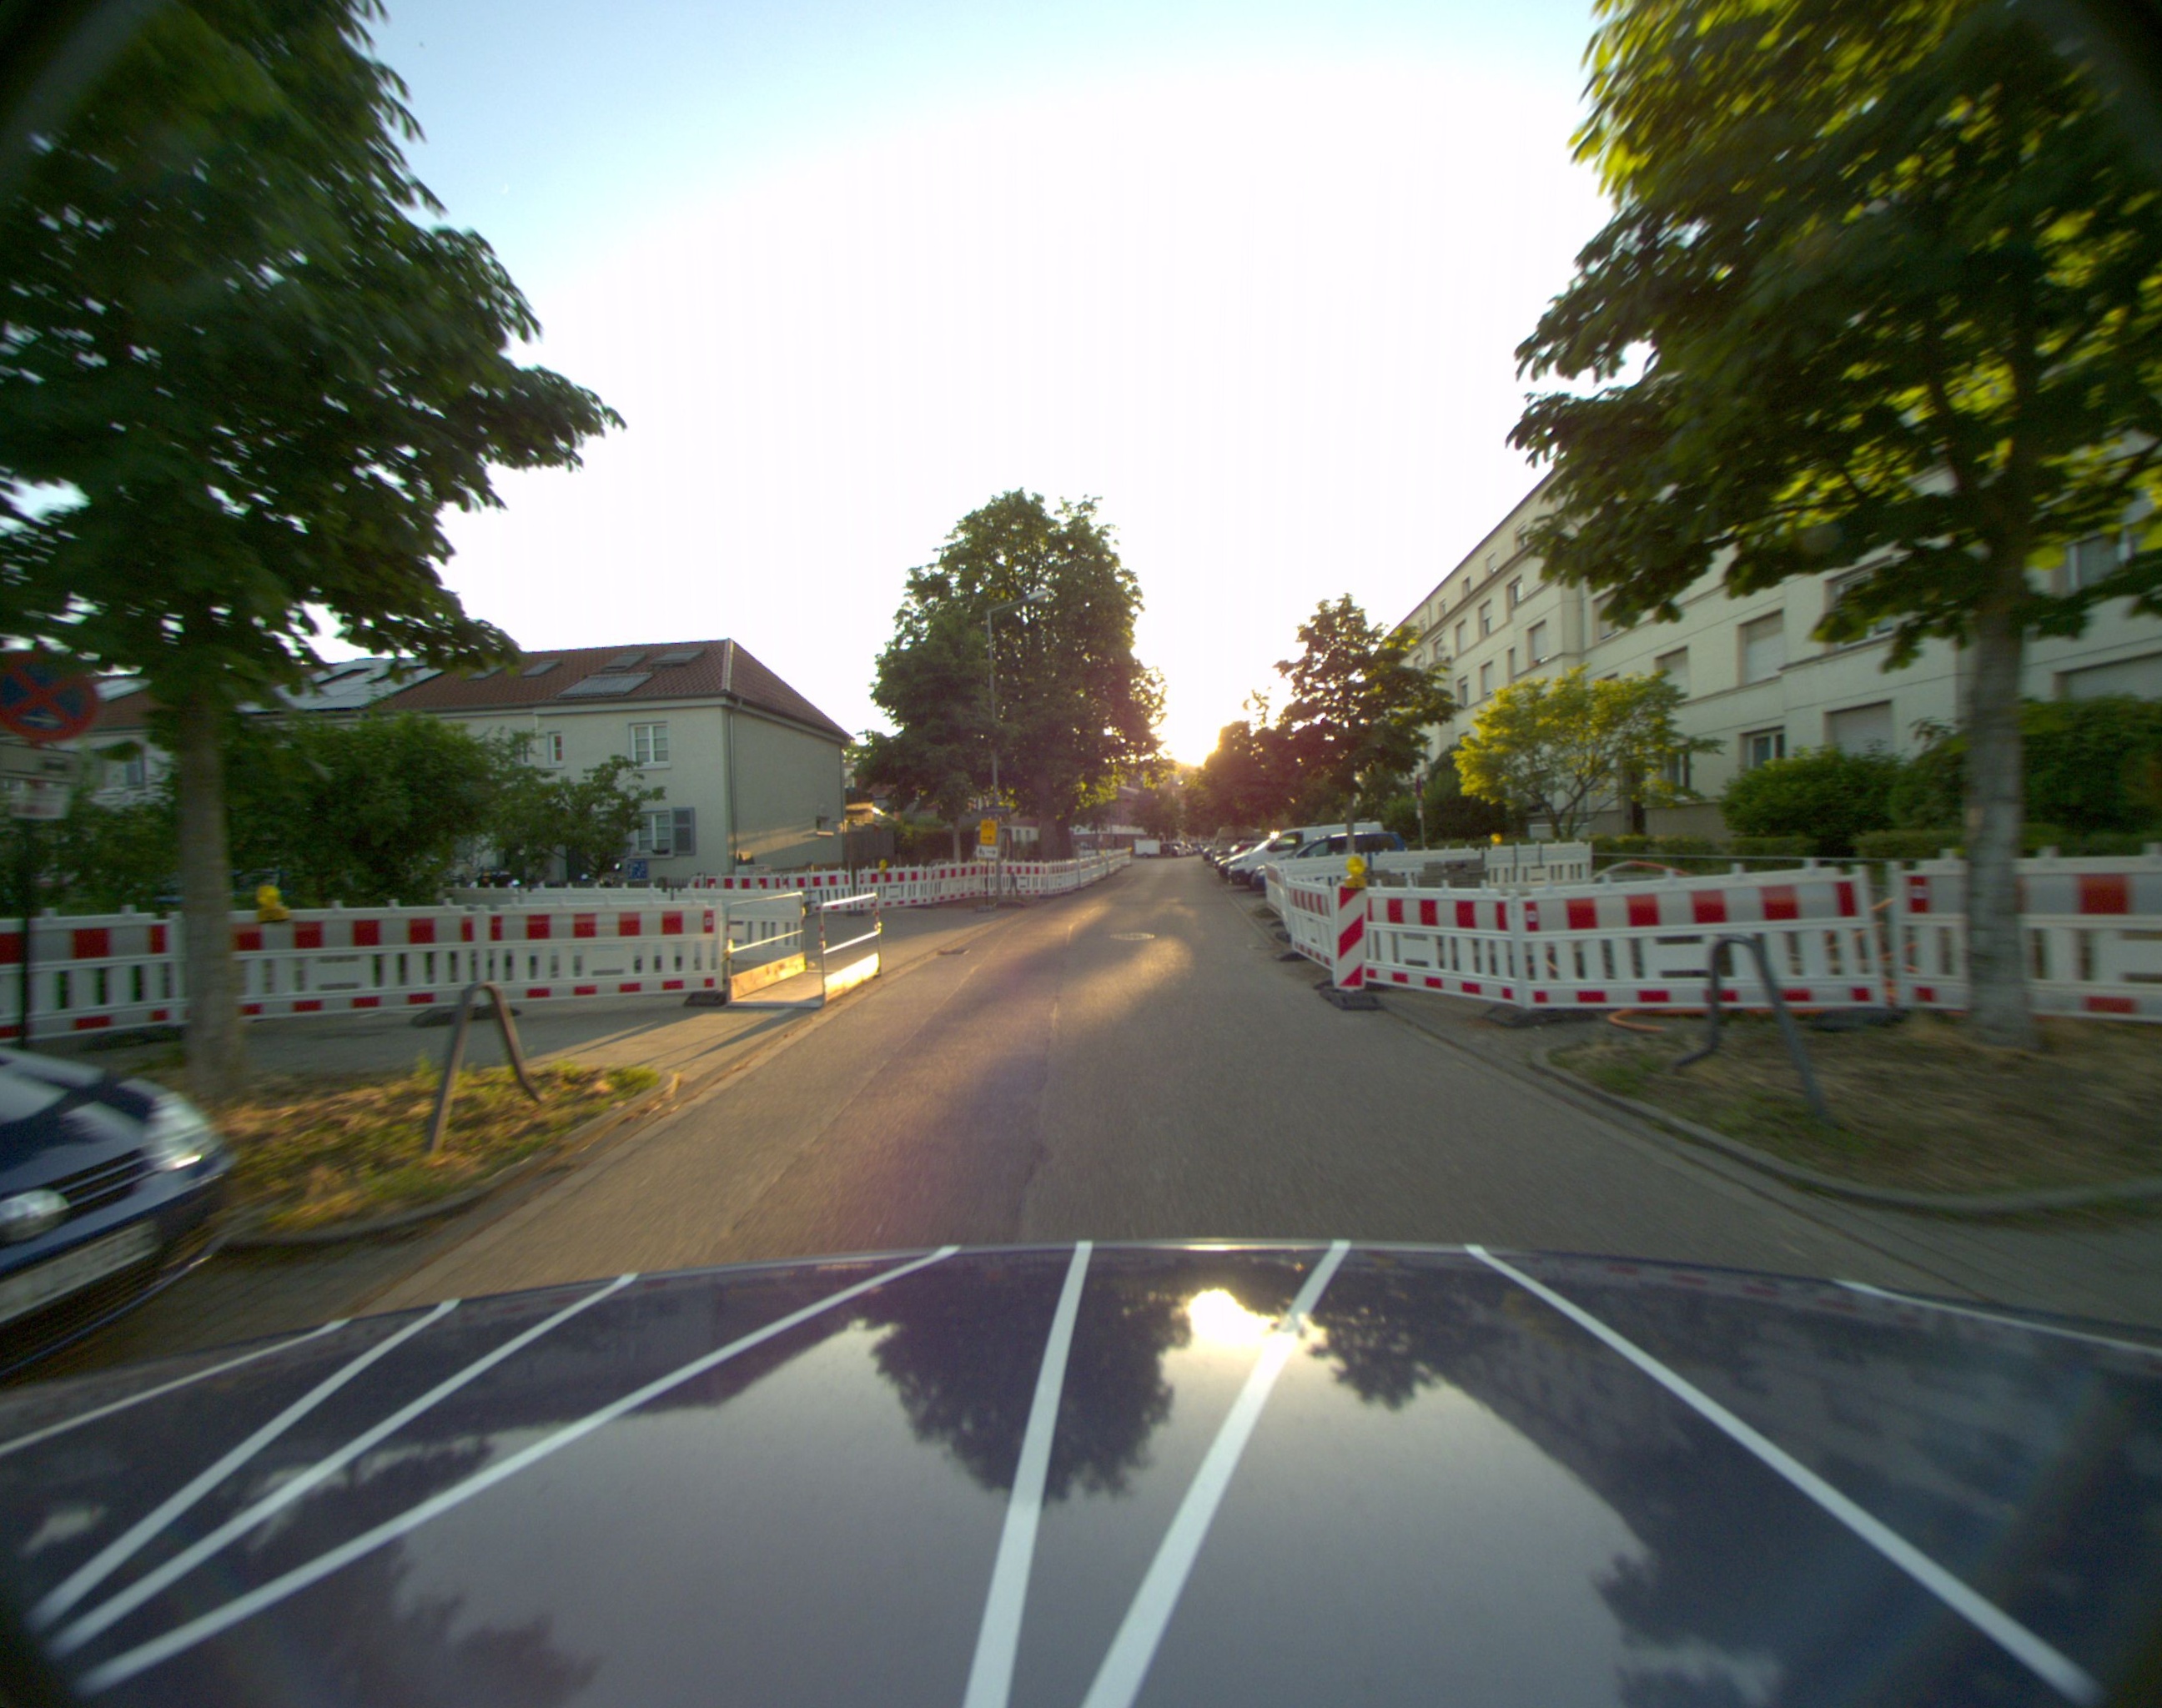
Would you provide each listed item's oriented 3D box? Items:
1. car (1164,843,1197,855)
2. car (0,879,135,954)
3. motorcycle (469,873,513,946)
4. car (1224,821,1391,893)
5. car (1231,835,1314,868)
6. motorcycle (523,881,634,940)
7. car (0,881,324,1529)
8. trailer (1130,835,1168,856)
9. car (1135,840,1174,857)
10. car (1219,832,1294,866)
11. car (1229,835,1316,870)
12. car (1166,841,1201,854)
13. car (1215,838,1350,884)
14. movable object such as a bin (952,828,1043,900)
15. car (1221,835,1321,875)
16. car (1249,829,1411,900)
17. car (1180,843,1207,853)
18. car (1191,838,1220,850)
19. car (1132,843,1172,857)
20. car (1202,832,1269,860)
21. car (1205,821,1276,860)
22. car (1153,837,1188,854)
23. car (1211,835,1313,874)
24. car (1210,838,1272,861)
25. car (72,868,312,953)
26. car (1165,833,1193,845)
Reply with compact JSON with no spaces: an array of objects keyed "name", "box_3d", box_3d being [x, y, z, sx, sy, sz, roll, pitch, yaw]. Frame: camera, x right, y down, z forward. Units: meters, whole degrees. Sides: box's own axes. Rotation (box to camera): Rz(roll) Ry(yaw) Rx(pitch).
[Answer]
[{"name":"car","box_3d":[14.160,-0.735,108.133,4.420,1.566,1.984,1,1,15]},{"name":"car","box_3d":[-24.825,1.461,17.647,3.639,1.543,1.804,-3,1,5]},{"name":"motorcycle","box_3d":[-12.446,1.127,16.058,0.599,1.408,2.076,-3,1,-36]},{"name":"car","box_3d":[7.128,0.095,24.385,4.782,2.002,2.001,-3,1,6]},{"name":"car","box_3d":[10.143,-0.141,40.450,3.995,1.515,1.790,-3,1,5]},{"name":"motorcycle","box_3d":[-10.771,1.187,16.350,0.579,1.099,1.850,-2,1,36]},{"name":"car","box_3d":[-4.823,1.016,1.832,3.998,1.641,1.764,-3,1,-4]},{"name":"trailer","box_3d":[7.836,-0.988,86.922,3.993,2.175,2.002,-3,1,13]},{"name":"car","box_3d":[8.911,-0.677,92.254,4.307,1.789,1.906,-3,1,16]},{"name":"car","box_3d":[10.041,-0.295,43.587,3.869,1.767,1.843,-3,2,2]},{"name":"car","box_3d":[9.688,-0.077,38.738,3.996,1.574,1.731,-3,1,3]},{"name":"car","box_3d":[14.870,-0.974,110.486,4.792,1.744,2.020,1,1,16]},{"name":"car","box_3d":[7.756,0.240,29.654,4.782,1.462,1.881,-3,1,7]},{"name":"movable object such as a bin","box_3d":[-3.011,0.322,28.909,2.634,2.389,5.197,-3,0,2]},{"name":"car","box_3d":[8.416,0.042,33.937,3.996,1.569,1.801,-3,1,3]},{"name":"car","box_3d":[6.928,0.292,21.515,3.995,1.742,1.800,-3,1,5]},{"name":"car","box_3d":[18.190,-0.952,122.731,3.991,1.537,1.847,2,2,17]},{"name":"car","box_3d":[21.628,-1.696,132.067,4.591,1.851,2.014,3,2,19]},{"name":"car","box_3d":[8.461,-0.479,90.233,4.433,1.490,1.775,-3,1,16]},{"name":"car","box_3d":[11.392,-0.578,56.344,4.682,1.863,2.001,-3,1,9]},{"name":"car","box_3d":[10.748,-0.888,51.329,4.510,2.417,2.001,-3,1,10]},{"name":"car","box_3d":[11.250,-1.089,95.483,3.992,1.893,2.002,-3,1,16]},{"name":"car","box_3d":[8.604,0.026,36.399,4.416,1.605,1.900,-3,1,3]},{"name":"car","box_3d":[11.292,-0.351,53.889,4.182,1.417,2.001,-3,1,9]},{"name":"car","box_3d":[-19.894,1.241,17.089,3.629,1.628,1.720,-3,1,7]},{"name":"car","box_3d":[19.127,-2.992,148.785,4.965,2.089,2.153,-2,2,22]}]
